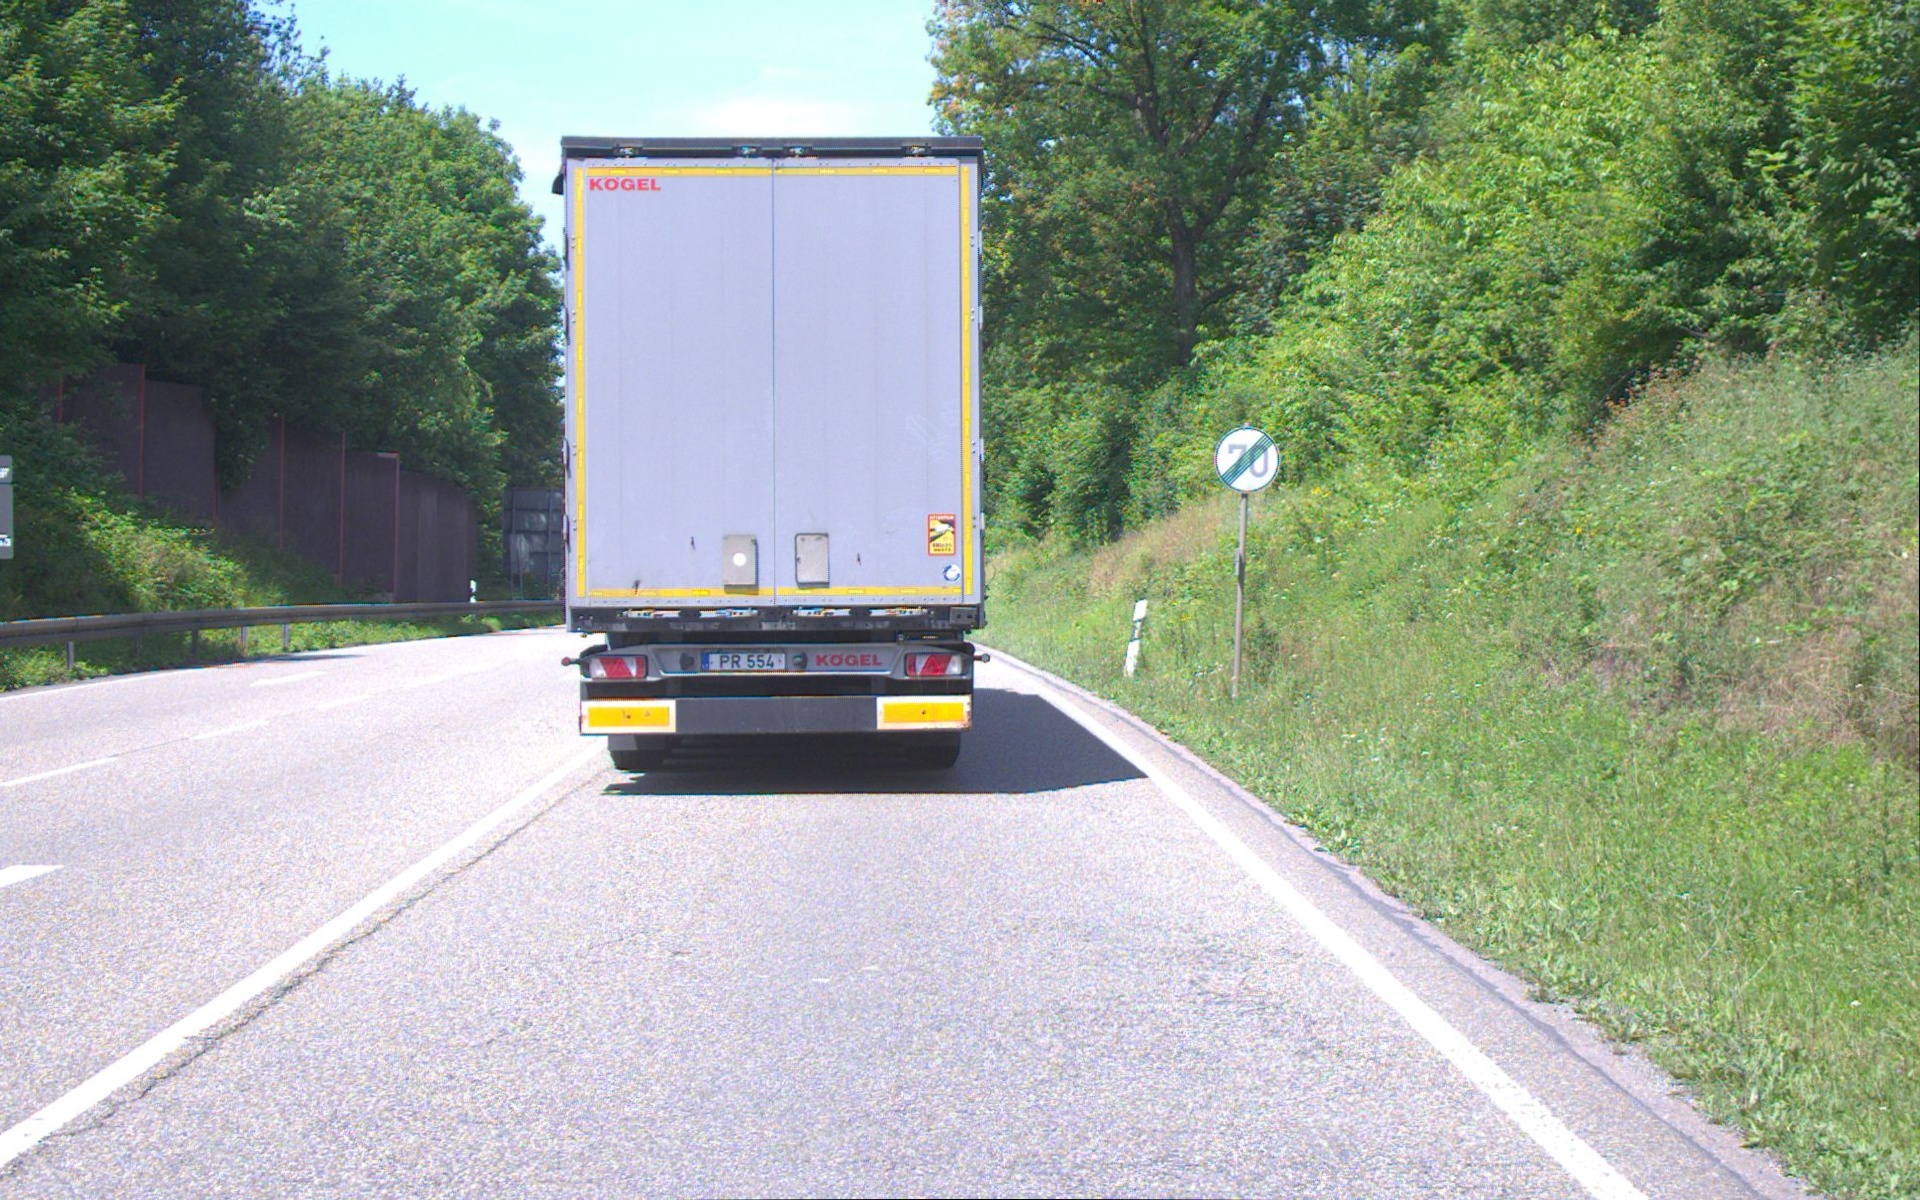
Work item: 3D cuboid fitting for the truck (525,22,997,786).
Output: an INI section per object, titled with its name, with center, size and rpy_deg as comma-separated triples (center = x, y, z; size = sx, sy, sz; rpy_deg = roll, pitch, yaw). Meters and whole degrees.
[truck]
center = -1.288, -1.254, 24.043
size = 2.822, 4.588, 6.666
rpy_deg = 0, 1, -2

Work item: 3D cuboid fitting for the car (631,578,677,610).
[car]
center = -14.344, -0.274, 161.034
size = 1.805, 1.430, 3.872
rpy_deg = -1, 1, -10
